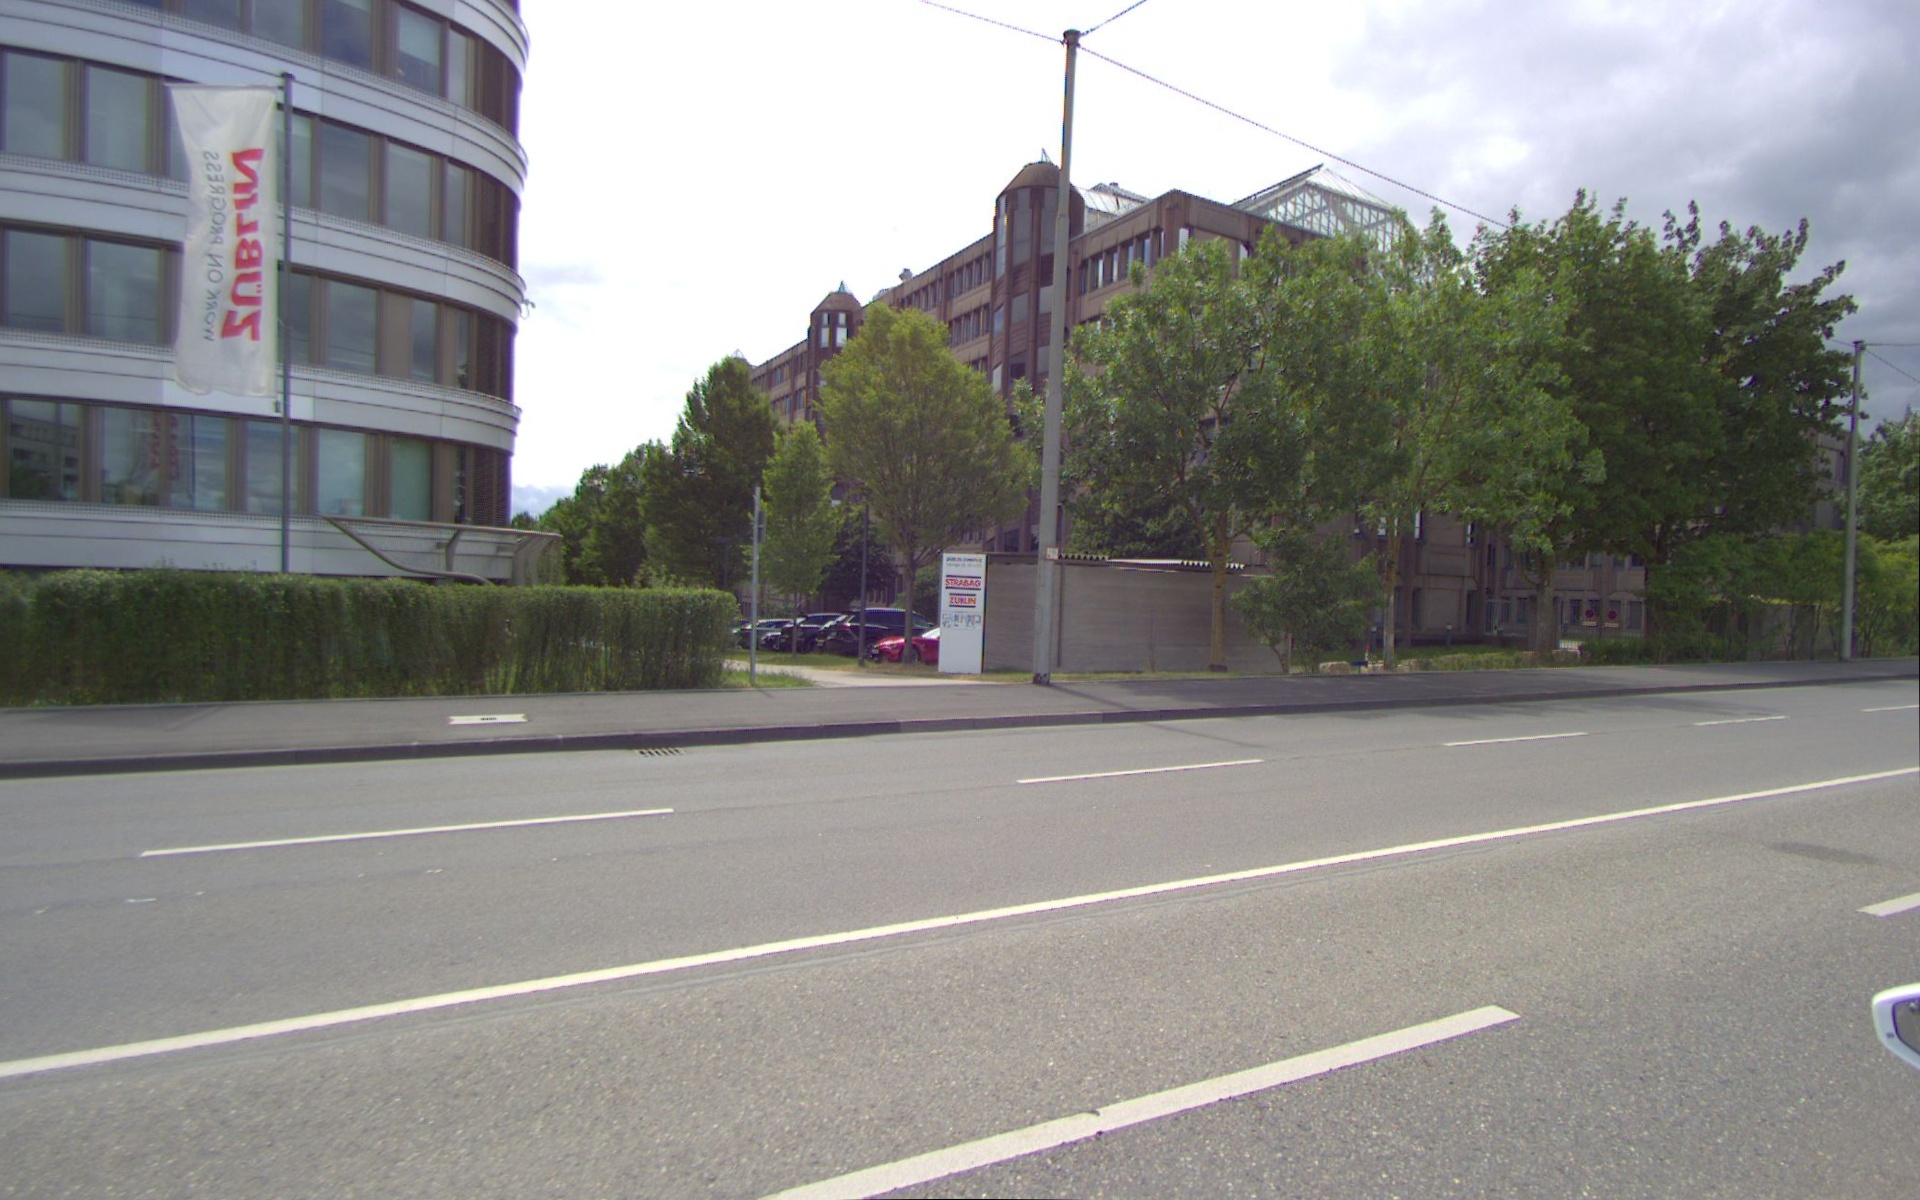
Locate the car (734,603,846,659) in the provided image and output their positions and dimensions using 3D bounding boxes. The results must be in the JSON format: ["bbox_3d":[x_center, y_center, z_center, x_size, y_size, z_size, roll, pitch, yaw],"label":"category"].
[{"bbox_3d":[-6.736,1.229,39.775,3.950,2.040,1.985,2,0,-28],"label":"car"}]

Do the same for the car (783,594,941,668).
[{"bbox_3d":[-2.713,0.879,28.219,3.961,1.817,1.851,5,-2,-35],"label":"car"}]

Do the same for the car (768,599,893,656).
[{"bbox_3d":[-4.558,0.989,35.483,3.954,1.795,1.834,3,0,-30],"label":"car"}]
